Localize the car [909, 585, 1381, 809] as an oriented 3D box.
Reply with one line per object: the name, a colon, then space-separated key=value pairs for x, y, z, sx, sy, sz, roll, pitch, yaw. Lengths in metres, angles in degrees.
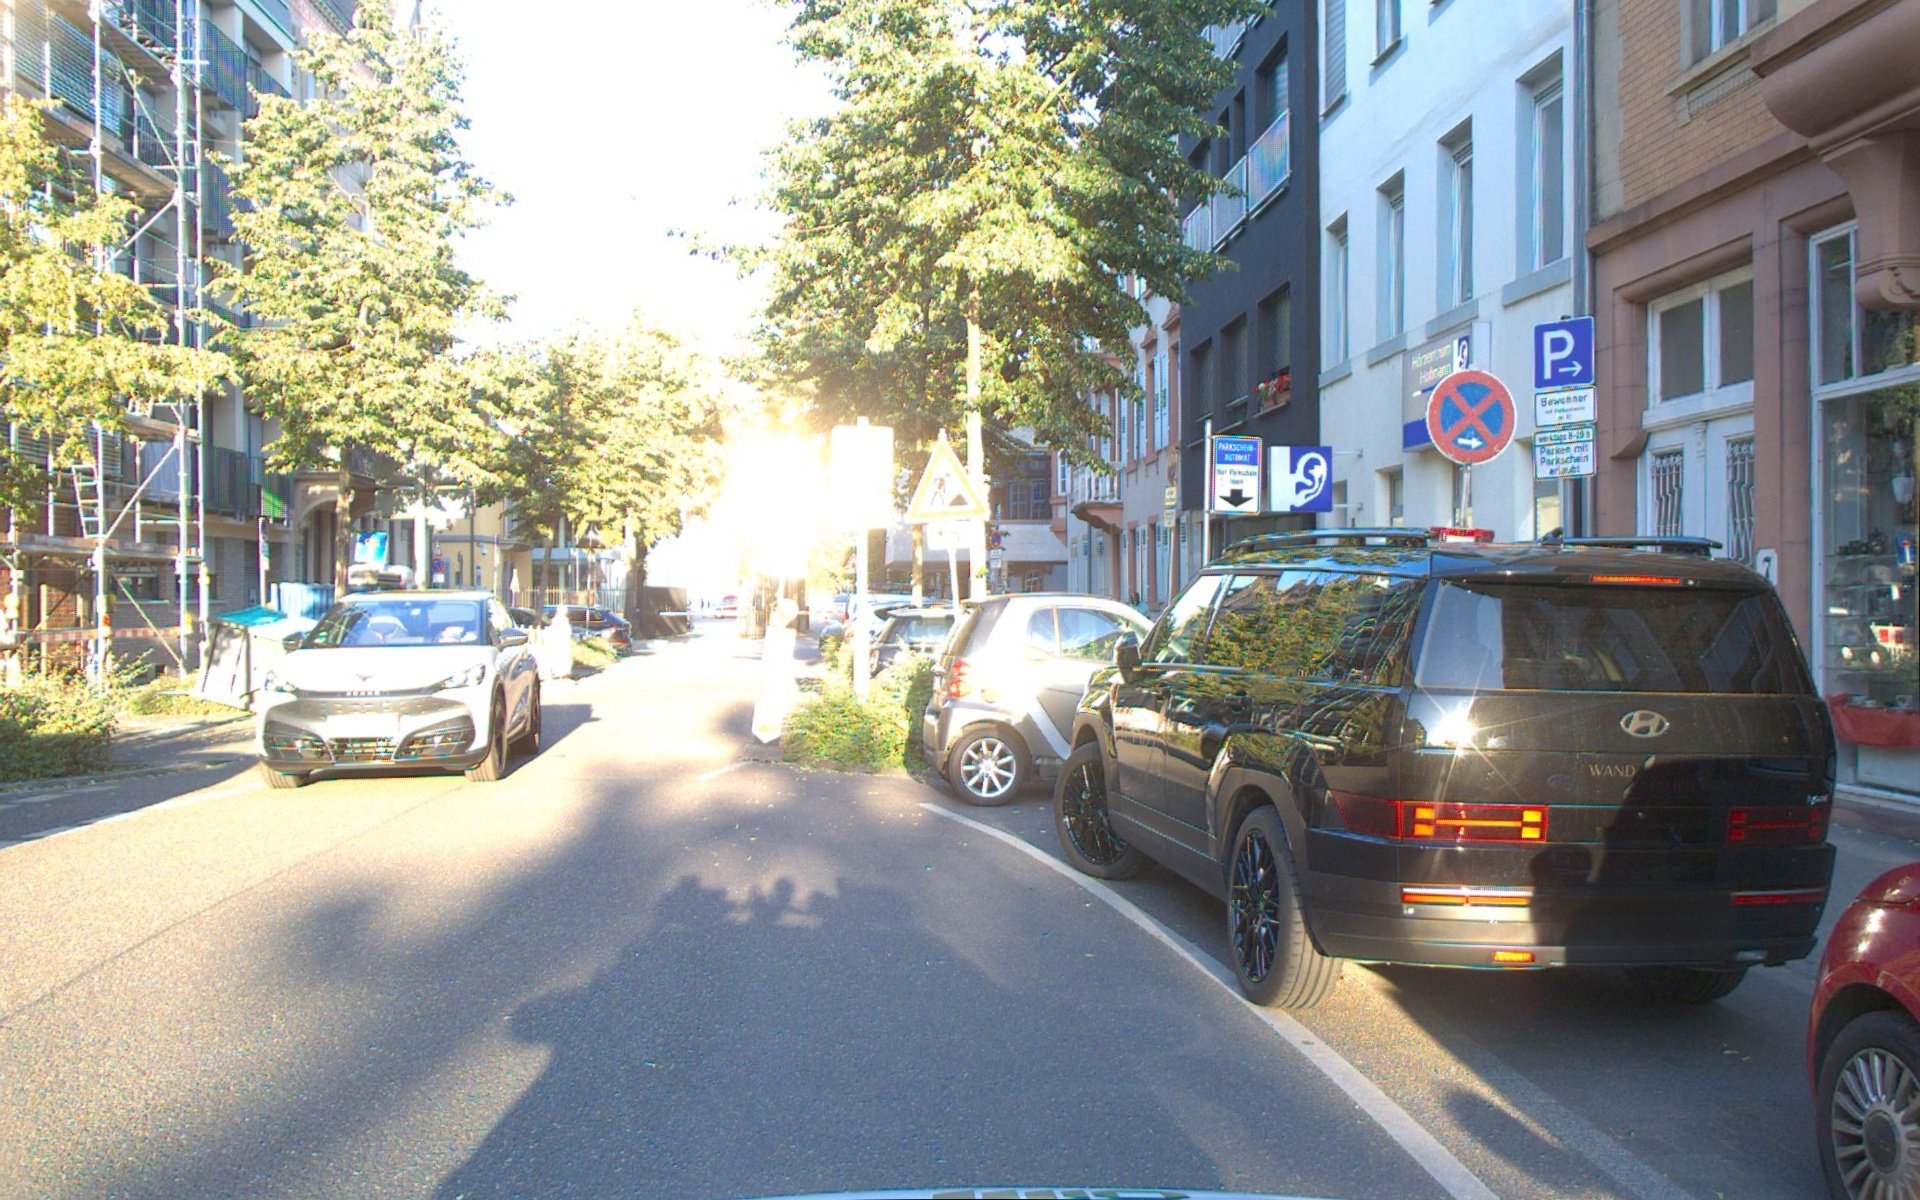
car: x=1.402 y=0.696 z=13.029 sx=3.409 sy=1.603 sz=1.503 roll=0 pitch=0 yaw=-12

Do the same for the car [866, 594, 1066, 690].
car: x=0.078 y=0.781 z=31.395 sx=3.614 sy=1.699 sz=1.856 roll=1 pitch=0 yaw=-6

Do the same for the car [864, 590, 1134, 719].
car: x=0.492 y=0.749 z=23.394 sx=3.614 sy=1.699 sz=1.856 roll=1 pitch=0 yaw=-6

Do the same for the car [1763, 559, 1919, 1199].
car: x=2.955 y=0.717 z=2.736 sx=1.495 sy=1.597 sz=3.420 roll=1 pitch=0 yaw=-2

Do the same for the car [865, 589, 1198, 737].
car: x=0.817 y=0.760 z=20.640 sx=3.918 sy=1.699 sz=1.856 roll=1 pitch=0 yaw=-6

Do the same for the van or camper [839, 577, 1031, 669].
van or camper: x=-0.628 y=0.532 z=38.861 sx=4.354 sy=2.041 sz=1.856 roll=1 pitch=0 yaw=-6

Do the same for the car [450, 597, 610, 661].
car: x=-11.789 y=0.777 z=45.530 sx=3.906 sy=1.713 sz=1.890 roll=0 pitch=0 yaw=-1

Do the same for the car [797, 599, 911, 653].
car: x=-3.265 y=0.810 z=51.649 sx=1.817 sy=1.595 sz=3.690 roll=1 pitch=0 yaw=29

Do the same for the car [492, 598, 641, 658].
car: x=-11.428 y=0.799 z=48.236 sx=3.906 sy=1.713 sz=1.890 roll=0 pitch=0 yaw=-1

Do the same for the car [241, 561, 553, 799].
car: x=-4.825 y=0.612 z=14.805 sx=1.838 sy=1.727 sz=4.312 roll=-2 pitch=0 yaw=-9

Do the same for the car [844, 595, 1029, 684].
car: x=-0.526 y=0.786 z=33.765 sx=3.614 sy=1.699 sz=1.856 roll=1 pitch=0 yaw=-6

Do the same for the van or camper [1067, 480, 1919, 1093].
van or camper: x=1.857 y=0.561 z=7.316 sx=1.854 sy=1.839 sz=4.452 roll=0 pitch=0 yaw=-9

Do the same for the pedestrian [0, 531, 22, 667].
pedestrian: x=-13.204 y=-0.003 z=22.324 sx=0.727 sy=1.814 sz=0.656 roll=-1 pitch=0 yaw=-5
